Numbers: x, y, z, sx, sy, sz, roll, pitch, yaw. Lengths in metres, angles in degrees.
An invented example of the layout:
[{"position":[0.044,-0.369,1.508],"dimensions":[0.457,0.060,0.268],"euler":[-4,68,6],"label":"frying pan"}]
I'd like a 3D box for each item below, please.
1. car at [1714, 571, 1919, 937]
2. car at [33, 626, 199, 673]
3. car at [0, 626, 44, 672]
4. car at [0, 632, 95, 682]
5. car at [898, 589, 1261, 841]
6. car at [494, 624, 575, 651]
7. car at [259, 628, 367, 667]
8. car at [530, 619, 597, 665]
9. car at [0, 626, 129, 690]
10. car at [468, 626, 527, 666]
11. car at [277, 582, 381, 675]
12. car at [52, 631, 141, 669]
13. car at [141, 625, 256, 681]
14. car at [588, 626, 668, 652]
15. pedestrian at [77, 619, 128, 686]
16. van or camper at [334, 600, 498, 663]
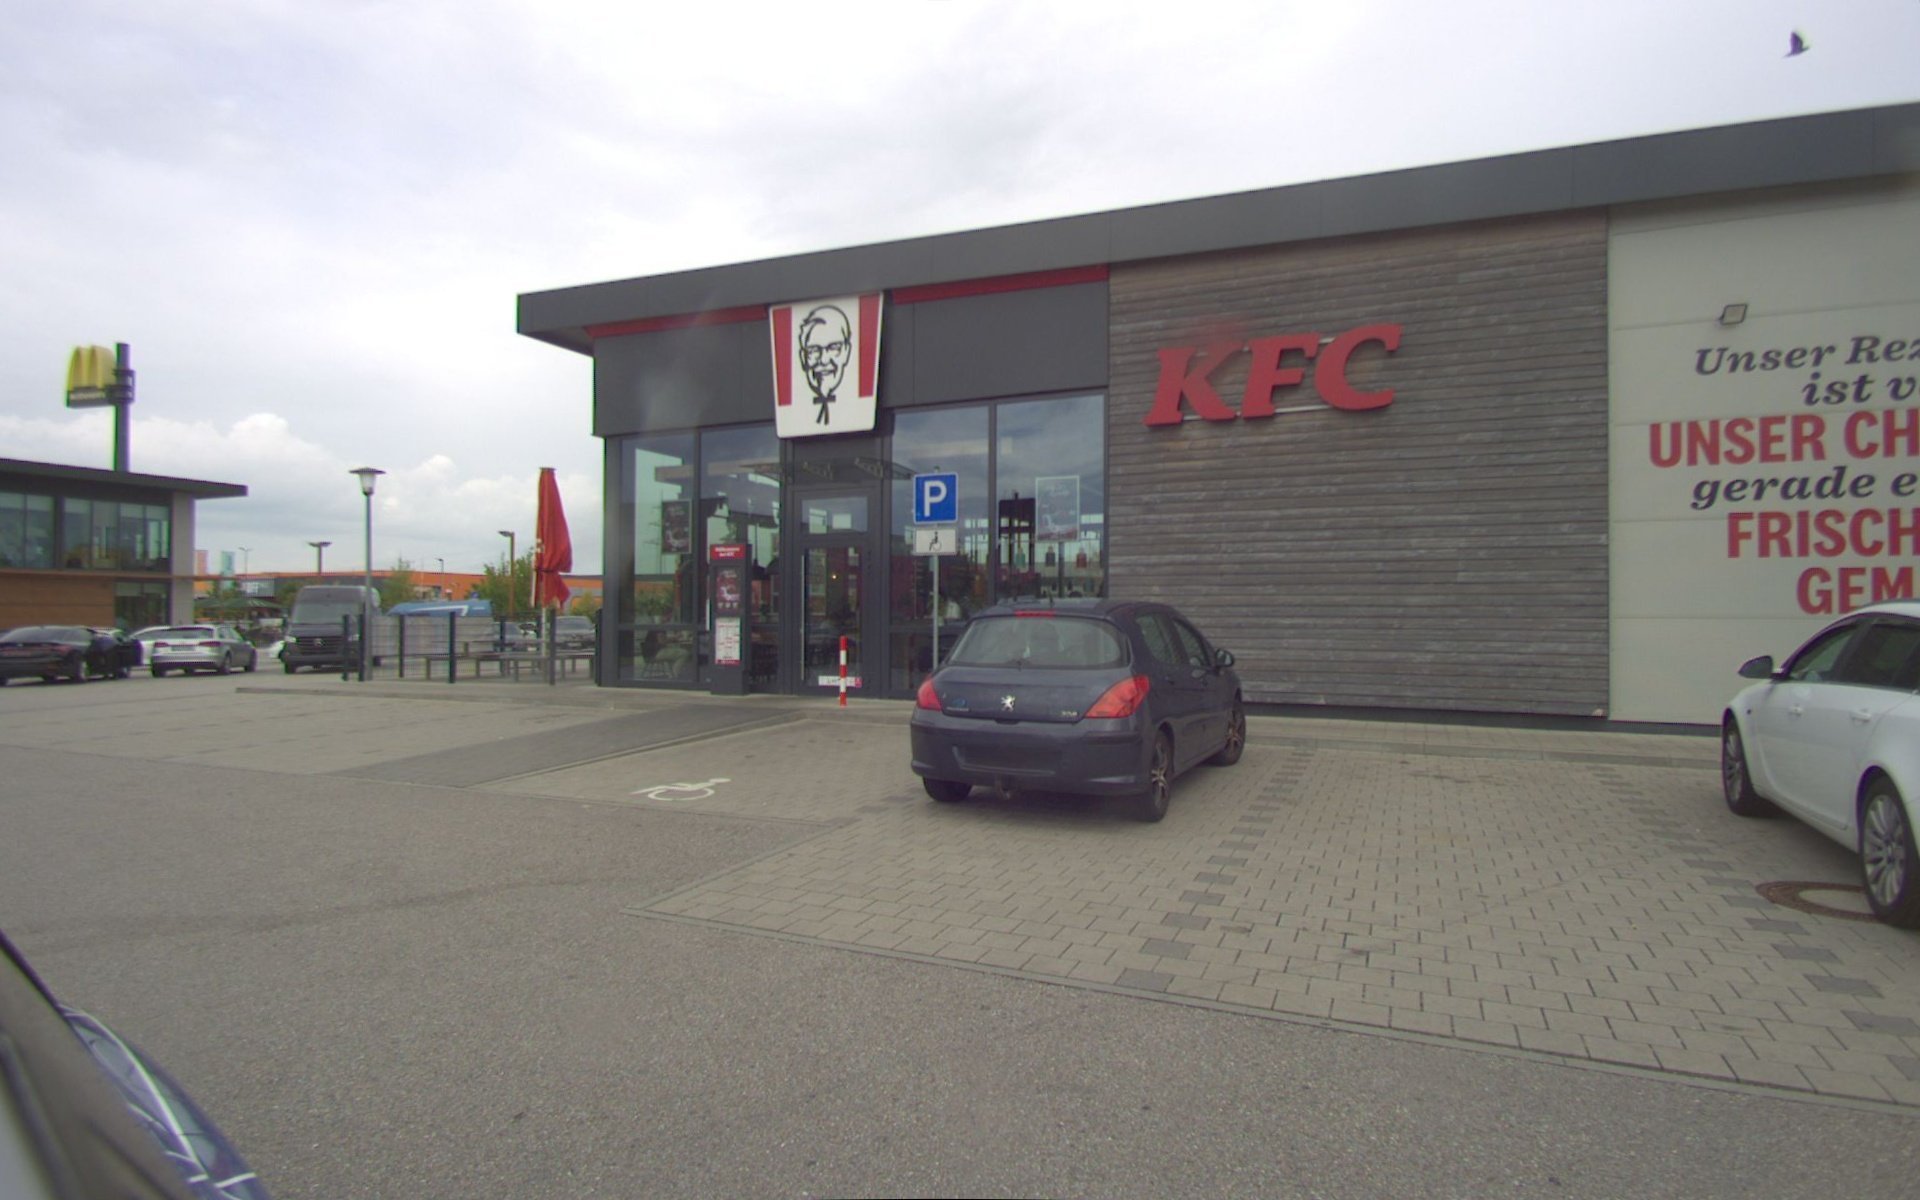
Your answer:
[{"position":[5.374,0.658,4.880],"dimensions":[1.989,1.497,4.143],"euler":[0,-1,25],"label":"car"},{"position":[-28.940,1.705,34.877],"dimensions":[4.040,1.478,1.786],"euler":[0,-4,-25],"label":"car"},{"position":[-39.429,1.950,41.284],"dimensions":[1.865,1.674,4.273],"euler":[2,-1,-25],"label":"car"},{"position":[-29.996,1.777,31.749],"dimensions":[3.931,1.521,1.775],"euler":[2,-3,-21],"label":"car"},{"position":[1.212,0.685,8.190],"dimensions":[1.749,1.498,3.906],"euler":[-2,0,25],"label":"car"},{"position":[-27.378,2.394,65.128],"dimensions":[4.916,1.614,2.055],"euler":[0,-1,25],"label":"car"},{"position":[-26.501,1.930,41.583],"dimensions":[3.512,1.465,1.848],"euler":[0,-2,-24],"label":"car"},{"position":[-16.389,1.721,41.689],"dimensions":[1.965,1.741,4.912],"euler":[1,-3,-28],"label":"car"},{"position":[-22.864,1.439,25.588],"dimensions":[1.658,1.474,4.421],"euler":[0,-2,-23],"label":"car"},{"position":[-17.924,1.748,39.099],"dimensions":[1.801,1.422,4.012],"euler":[0,-1,-28],"label":"car"},{"position":[-19.641,0.916,31.786],"dimensions":[2.037,2.573,7.035],"euler":[0,-2,-26],"label":"car"},{"position":[-38.462,2.205,45.188],"dimensions":[1.759,1.498,4.013],"euler":[2,-1,-21],"label":"car"},{"position":[-21.846,1.492,29.204],"dimensions":[1.658,1.462,4.013],"euler":[0,-2,-22],"label":"car"},{"position":[-20.443,2.397,62.333],"dimensions":[4.449,1.565,2.057],"euler":[-1,-2,23],"label":"car"},{"position":[-22.061,1.345,26.051],"dimensions":[0.736,1.690,0.845],"euler":[1,-2,-23],"label":"pedestrian"},{"position":[-25.358,1.459,47.456],"dimensions":[6.461,2.721,2.179],"euler":[-1,-2,-17],"label":"van or camper"}]
